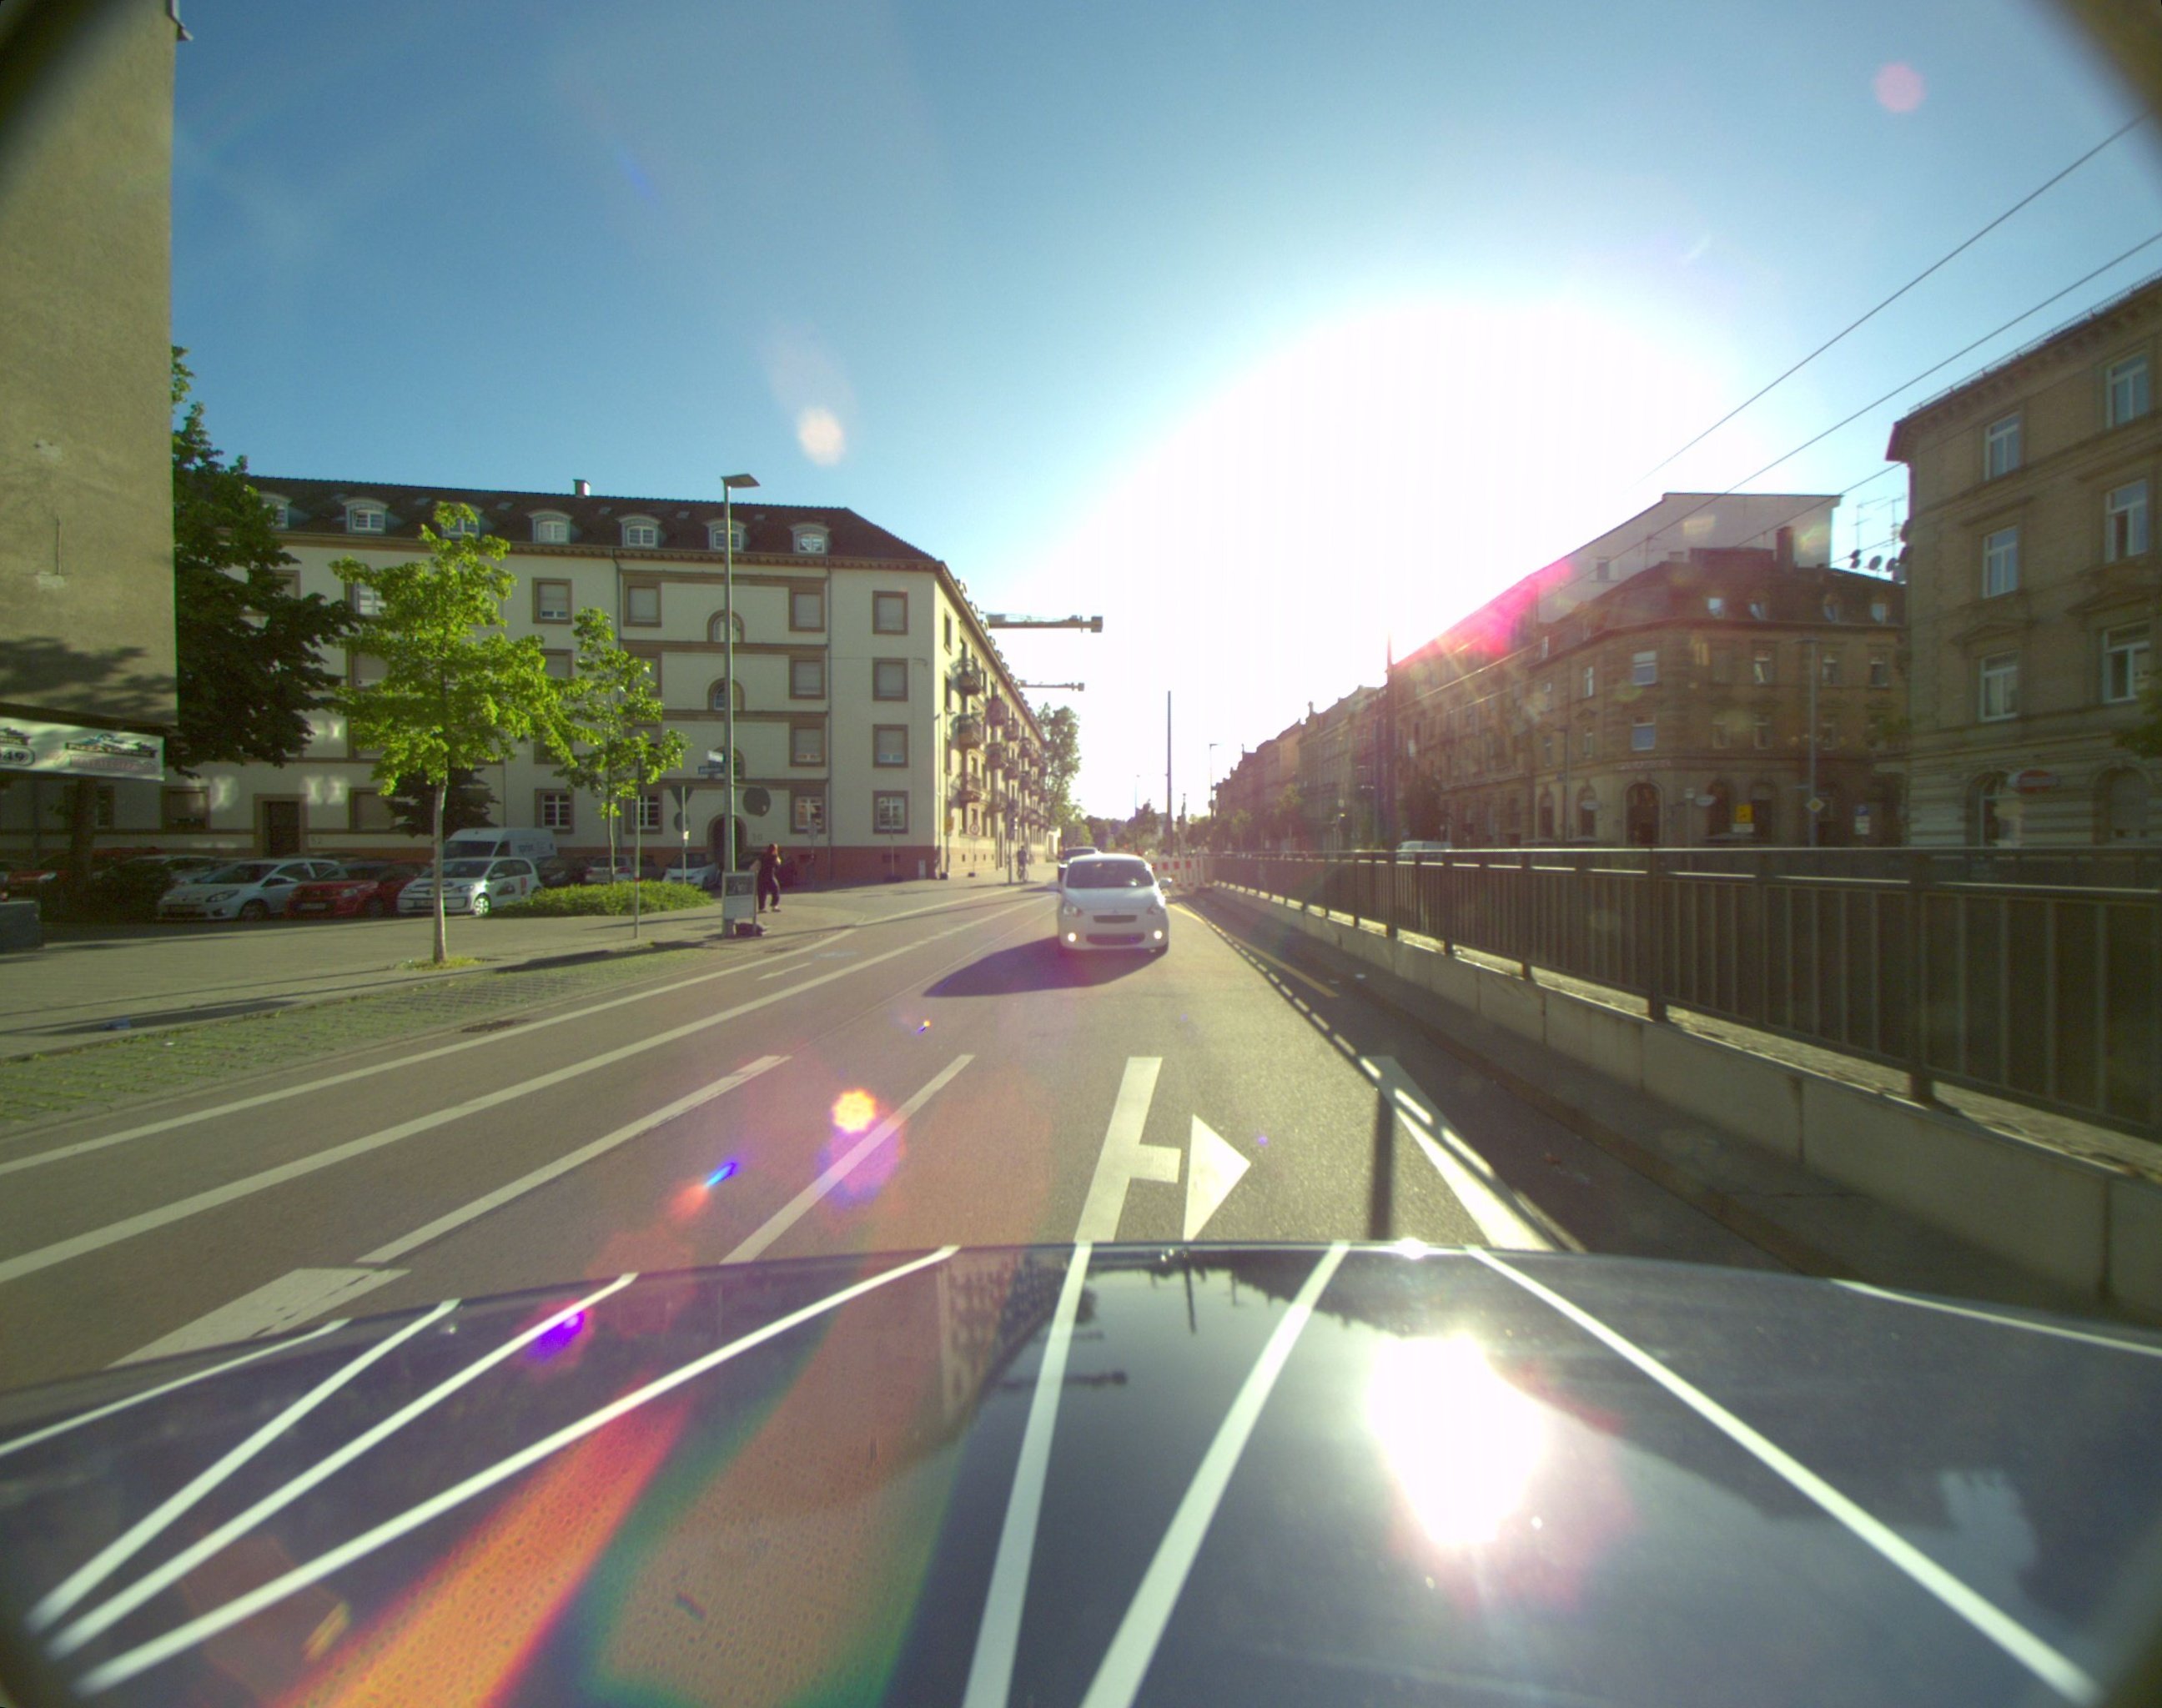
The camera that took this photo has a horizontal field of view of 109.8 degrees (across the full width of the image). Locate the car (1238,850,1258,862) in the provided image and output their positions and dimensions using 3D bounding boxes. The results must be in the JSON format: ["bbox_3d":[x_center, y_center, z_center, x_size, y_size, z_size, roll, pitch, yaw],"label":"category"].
[{"bbox_3d":[24.993,0.323,113.755,1.998,1.688,4.888,-2,0,1],"label":"car"}]

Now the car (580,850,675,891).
[{"bbox_3d":[-18.199,0.614,30.721,1.698,1.421,4.435,-2,1,-9],"label":"car"}]

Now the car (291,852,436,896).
[{"bbox_3d":[-27.092,0.711,28.897,1.694,1.482,3.999,-2,0,-1],"label":"car"}]

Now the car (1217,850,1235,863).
[{"bbox_3d":[19.805,0.298,103.642,1.800,1.630,4.477,0,1,3],"label":"car"}]

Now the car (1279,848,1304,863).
[{"bbox_3d":[25.198,0.200,91.128,1.942,1.648,4.545,-2,0,4],"label":"car"}]

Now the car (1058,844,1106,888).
[{"bbox_3d":[0.104,0.487,32.931,1.899,1.730,4.000,-2,0,2],"label":"car"}]

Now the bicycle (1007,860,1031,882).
[{"bbox_3d":[-2.925,0.779,35.720,0.770,0.947,2.195,0,0,-14],"label":"bicycle"}]

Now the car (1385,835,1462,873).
[{"bbox_3d":[18.511,0.007,41.311,1.999,1.869,4.583,-2,0,-1],"label":"car"}]

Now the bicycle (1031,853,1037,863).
[{"bbox_3d":[-4.913,0.403,79.273,0.419,1.089,2.198,0,0,2],"label":"bicycle"}]

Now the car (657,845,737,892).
[{"bbox_3d":[-15.701,0.537,31.314,1.629,1.677,4.434,-1,2,-10],"label":"car"}]

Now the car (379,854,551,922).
[{"bbox_3d":[-15.403,0.784,19.283,1.668,1.466,3.833,-2,0,-9],"label":"car"}]

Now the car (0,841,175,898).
[{"bbox_3d":[-36.962,0.530,28.368,1.695,1.925,3.997,-2,0,-7],"label":"car"}]

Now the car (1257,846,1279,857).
[{"bbox_3d":[25.328,-0.330,103.030,1.998,1.429,4.308,-1,0,1],"label":"car"}]

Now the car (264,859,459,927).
[{"bbox_3d":[-17.650,0.884,18.905,1.637,1.444,3.653,-2,0,-7],"label":"car"}]

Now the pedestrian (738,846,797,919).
[{"bbox_3d":[-7.890,0.698,19.158,0.885,1.754,1.106,2,2,11],"label":"pedestrian"}]

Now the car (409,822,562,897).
[{"bbox_3d":[-22.828,0.078,29.538,1.929,2.595,5.955,0,3,-9],"label":"car"}]

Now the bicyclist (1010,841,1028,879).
[{"bbox_3d":[-2.908,0.274,35.641,0.734,1.753,0.938,0,1,1],"label":"bicyclist"}]

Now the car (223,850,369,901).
[{"bbox_3d":[-29.562,0.753,28.795,1.543,1.729,3.998,-2,0,-5],"label":"car"}]

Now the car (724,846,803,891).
[{"bbox_3d":[-13.001,0.569,31.400,1.697,1.676,4.437,-2,0,-5],"label":"car"}]

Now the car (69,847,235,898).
[{"bbox_3d":[-34.707,0.667,28.580,1.696,1.717,3.996,-2,0,-10],"label":"car"}]

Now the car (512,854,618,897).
[{"bbox_3d":[-20.694,0.791,30.716,1.698,1.470,4.436,-2,1,-8],"label":"car"}]

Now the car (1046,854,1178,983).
[{"bbox_3d":[0.469,0.821,11.853,1.634,1.500,4.349,-2,1,2],"label":"car"}]

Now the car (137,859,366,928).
[{"bbox_3d":[-20.048,0.885,18.632,1.637,1.446,3.732,-2,0,-4],"label":"car"}]

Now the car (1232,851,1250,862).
[{"bbox_3d":[25.277,0.407,120.026,1.998,1.529,4.985,-2,0,2],"label":"car"}]

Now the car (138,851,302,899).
[{"bbox_3d":[-31.975,0.731,28.414,1.695,1.606,3.998,-2,0,-4],"label":"car"}]

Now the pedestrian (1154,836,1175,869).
[{"bbox_3d":[3.665,-0.057,33.424,0.791,1.449,0.946,0,1,0],"label":"pedestrian"}]

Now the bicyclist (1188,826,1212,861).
[{"bbox_3d":[5.950,-0.522,37.964,0.886,1.763,0.854,-1,1,-24],"label":"bicyclist"}]
